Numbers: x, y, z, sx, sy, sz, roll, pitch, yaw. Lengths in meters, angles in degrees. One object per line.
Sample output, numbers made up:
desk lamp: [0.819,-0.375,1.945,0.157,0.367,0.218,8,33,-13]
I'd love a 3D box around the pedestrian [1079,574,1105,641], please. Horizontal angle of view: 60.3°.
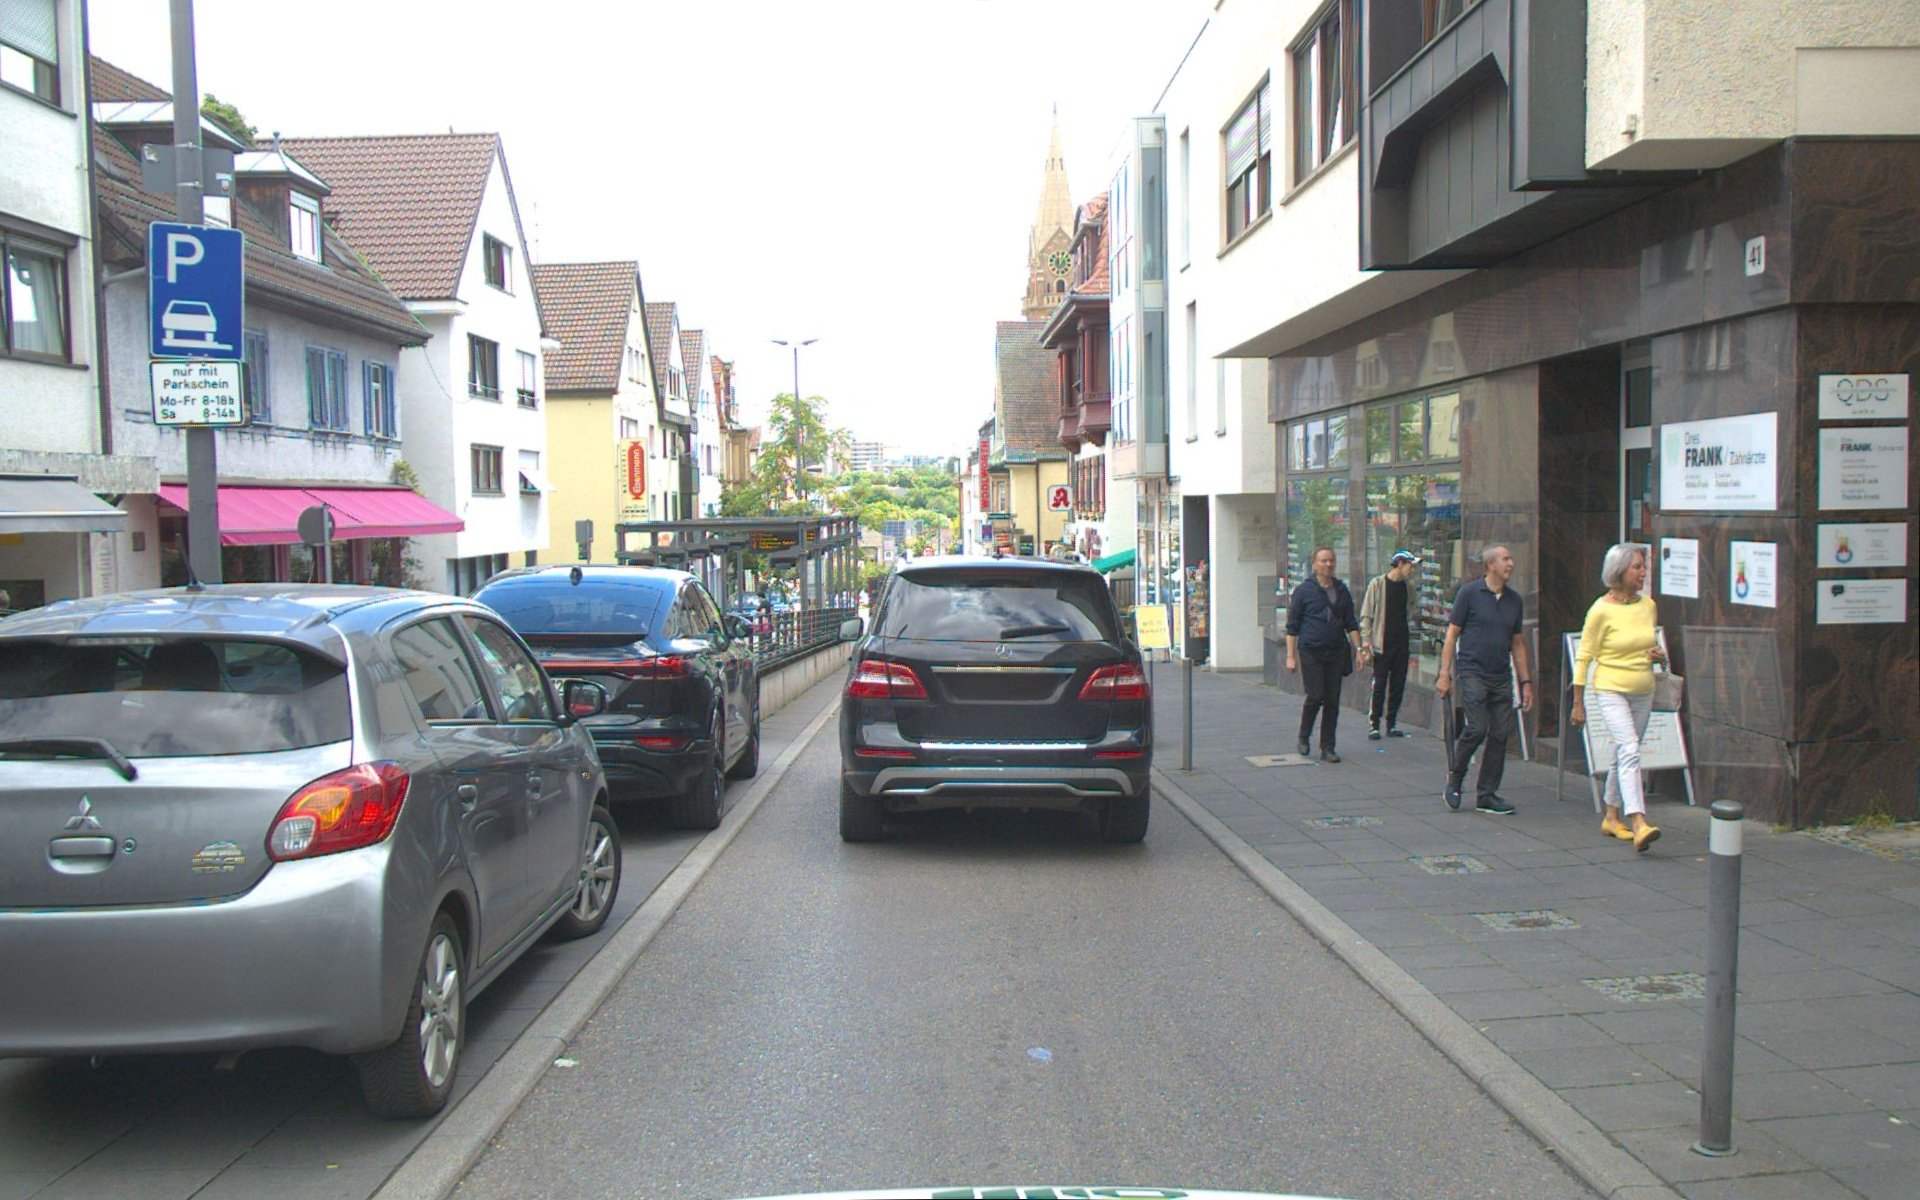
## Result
pedestrian: [3.439,0.192,43.261,0.562,1.718,0.565,1,0,-8]

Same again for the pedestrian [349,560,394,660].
pedestrian: [-10.228,0.174,28.755,0.566,1.718,0.576,1,0,-2]

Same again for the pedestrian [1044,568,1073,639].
pedestrian: [2.372,0.083,39.911,0.609,1.718,0.565,1,0,-8]

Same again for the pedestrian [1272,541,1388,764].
pedestrian: [3.091,0.423,13.877,0.697,1.784,0.787,-3,0,-1]

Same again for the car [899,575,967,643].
car: [-0.740,0.220,44.764,1.734,1.743,3.999,1,0,-2]

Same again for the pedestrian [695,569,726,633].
pedestrian: [-6.710,0.019,44.472,0.599,1.718,0.563,1,0,20]

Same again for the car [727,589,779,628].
car: [-8.413,0.311,67.424,1.655,1.516,3.978,1,0,-1]

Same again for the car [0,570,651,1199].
car: [-2.198,0.695,5.845,1.587,1.559,3.669,0,0,-1]

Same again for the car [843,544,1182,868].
car: [0.202,0.577,11.134,1.862,1.777,3.998,1,0,-3]

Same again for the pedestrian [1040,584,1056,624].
pedestrian: [3.753,0.169,70.602,0.594,1.718,0.724,-2,0,-2]

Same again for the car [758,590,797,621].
car: [-9.309,0.264,84.677,1.627,1.516,3.747,1,0,-1]

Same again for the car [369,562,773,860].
car: [-2.427,0.614,11.457,1.917,1.668,4.312,0,0,-2]

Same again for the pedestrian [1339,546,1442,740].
pedestrian: [3.987,0.386,15.341,0.650,1.718,0.542,-4,1,-8]

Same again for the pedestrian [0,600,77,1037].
pedestrian: [-3.469,0.741,5.754,0.457,1.456,0.492,-3,0,-1]

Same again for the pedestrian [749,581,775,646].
pedestrian: [-5.274,0.367,44.171,0.613,1.718,0.679,1,0,-2]

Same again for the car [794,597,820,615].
car: [-9.901,0.390,107.225,1.360,1.089,3.112,-2,0,-1]

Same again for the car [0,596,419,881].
car: [-4.985,0.736,10.790,1.704,1.501,3.883,0,0,-2]

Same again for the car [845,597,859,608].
car: [-11.835,0.249,180.881,1.360,1.089,3.112,-2,0,-1]

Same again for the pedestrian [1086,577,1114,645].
pedestrian: [3.582,0.279,42.337,0.562,1.718,0.565,-2,0,-8]

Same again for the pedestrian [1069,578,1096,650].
pedestrian: [3.037,0.348,40.926,0.532,1.756,0.527,-2,0,-8]

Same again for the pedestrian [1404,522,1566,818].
pedestrian: [3.333,0.424,10.566,0.697,1.784,0.785,-3,0,-1]

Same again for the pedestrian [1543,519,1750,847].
pedestrian: [3.704,0.425,8.986,0.697,1.659,0.835,-3,0,-1]
